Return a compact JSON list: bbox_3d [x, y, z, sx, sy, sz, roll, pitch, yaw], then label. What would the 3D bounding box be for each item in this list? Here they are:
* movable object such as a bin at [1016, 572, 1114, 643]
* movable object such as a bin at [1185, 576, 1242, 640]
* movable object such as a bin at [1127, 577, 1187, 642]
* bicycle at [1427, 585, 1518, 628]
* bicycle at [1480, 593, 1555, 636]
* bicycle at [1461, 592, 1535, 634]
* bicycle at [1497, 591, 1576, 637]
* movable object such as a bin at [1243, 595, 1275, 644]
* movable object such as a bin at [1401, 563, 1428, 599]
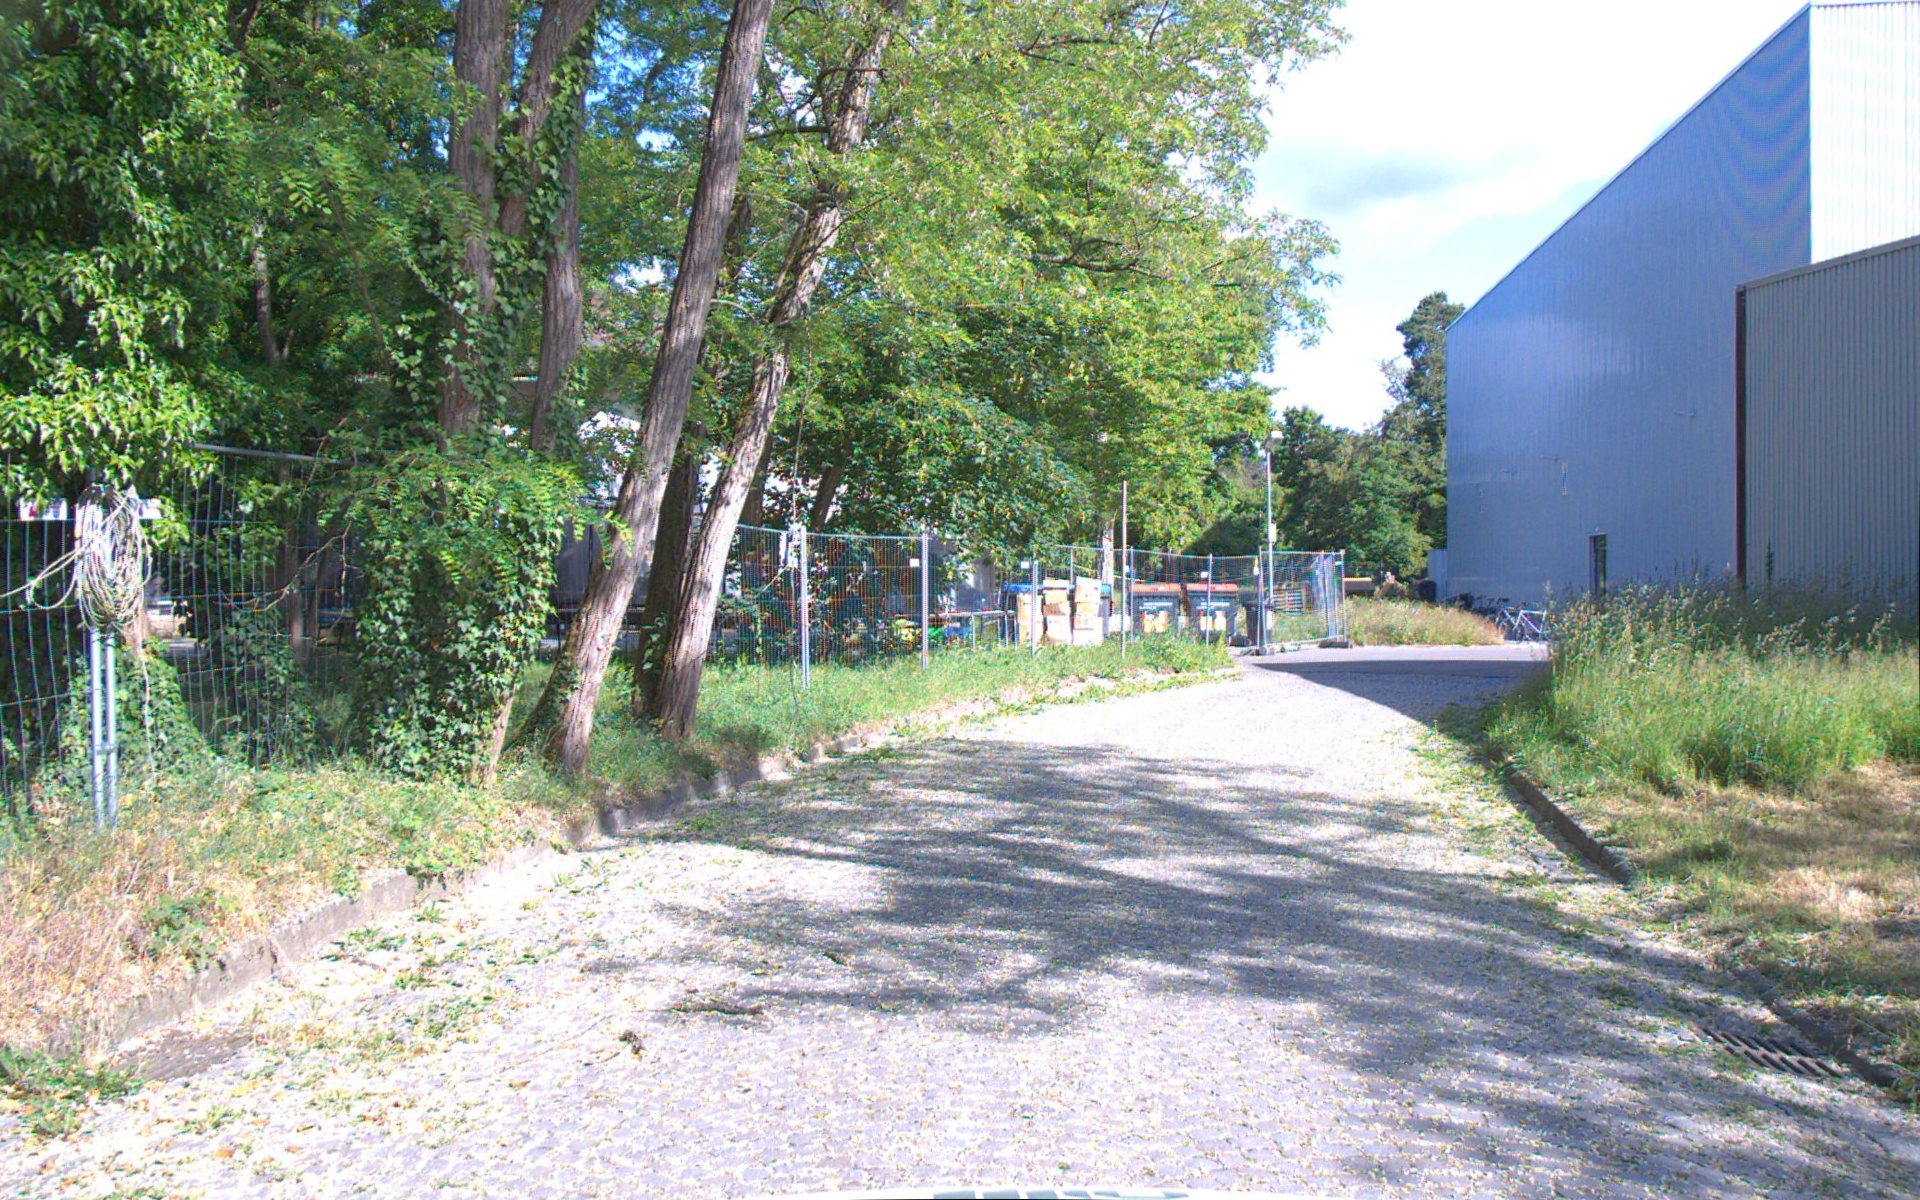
[{"bbox_3d":[2.436,0.173,38.625,2.241,1.619,1.175,0,0,1],"label":"movable object such as a bin"},{"bbox_3d":[5.911,0.175,38.561,1.219,1.470,0.703,0,0,1],"label":"movable object such as a bin"},{"bbox_3d":[4.605,0.215,38.678,1.310,1.510,0.807,0,0,0],"label":"movable object such as a bin"},{"bbox_3d":[15.774,0.196,50.999,2.574,1.288,1.142,0,0,11],"label":"bicycle"},{"bbox_3d":[14.459,0.380,42.916,1.753,1.101,0.525,0,0,9],"label":"bicycle"},{"bbox_3d":[14.786,0.359,45.450,1.848,1.114,0.526,-1,-1,6],"label":"bicycle"},{"bbox_3d":[14.059,0.340,40.372,1.762,1.080,0.459,0,0,2],"label":"bicycle"},{"bbox_3d":[6.923,0.453,38.305,0.720,1.116,0.820,0,0,10],"label":"movable object such as a bin"},{"bbox_3d":[26.324,-1.118,95.825,1.388,2.049,1.126,0,0,11],"label":"movable object such as a bin"}]
